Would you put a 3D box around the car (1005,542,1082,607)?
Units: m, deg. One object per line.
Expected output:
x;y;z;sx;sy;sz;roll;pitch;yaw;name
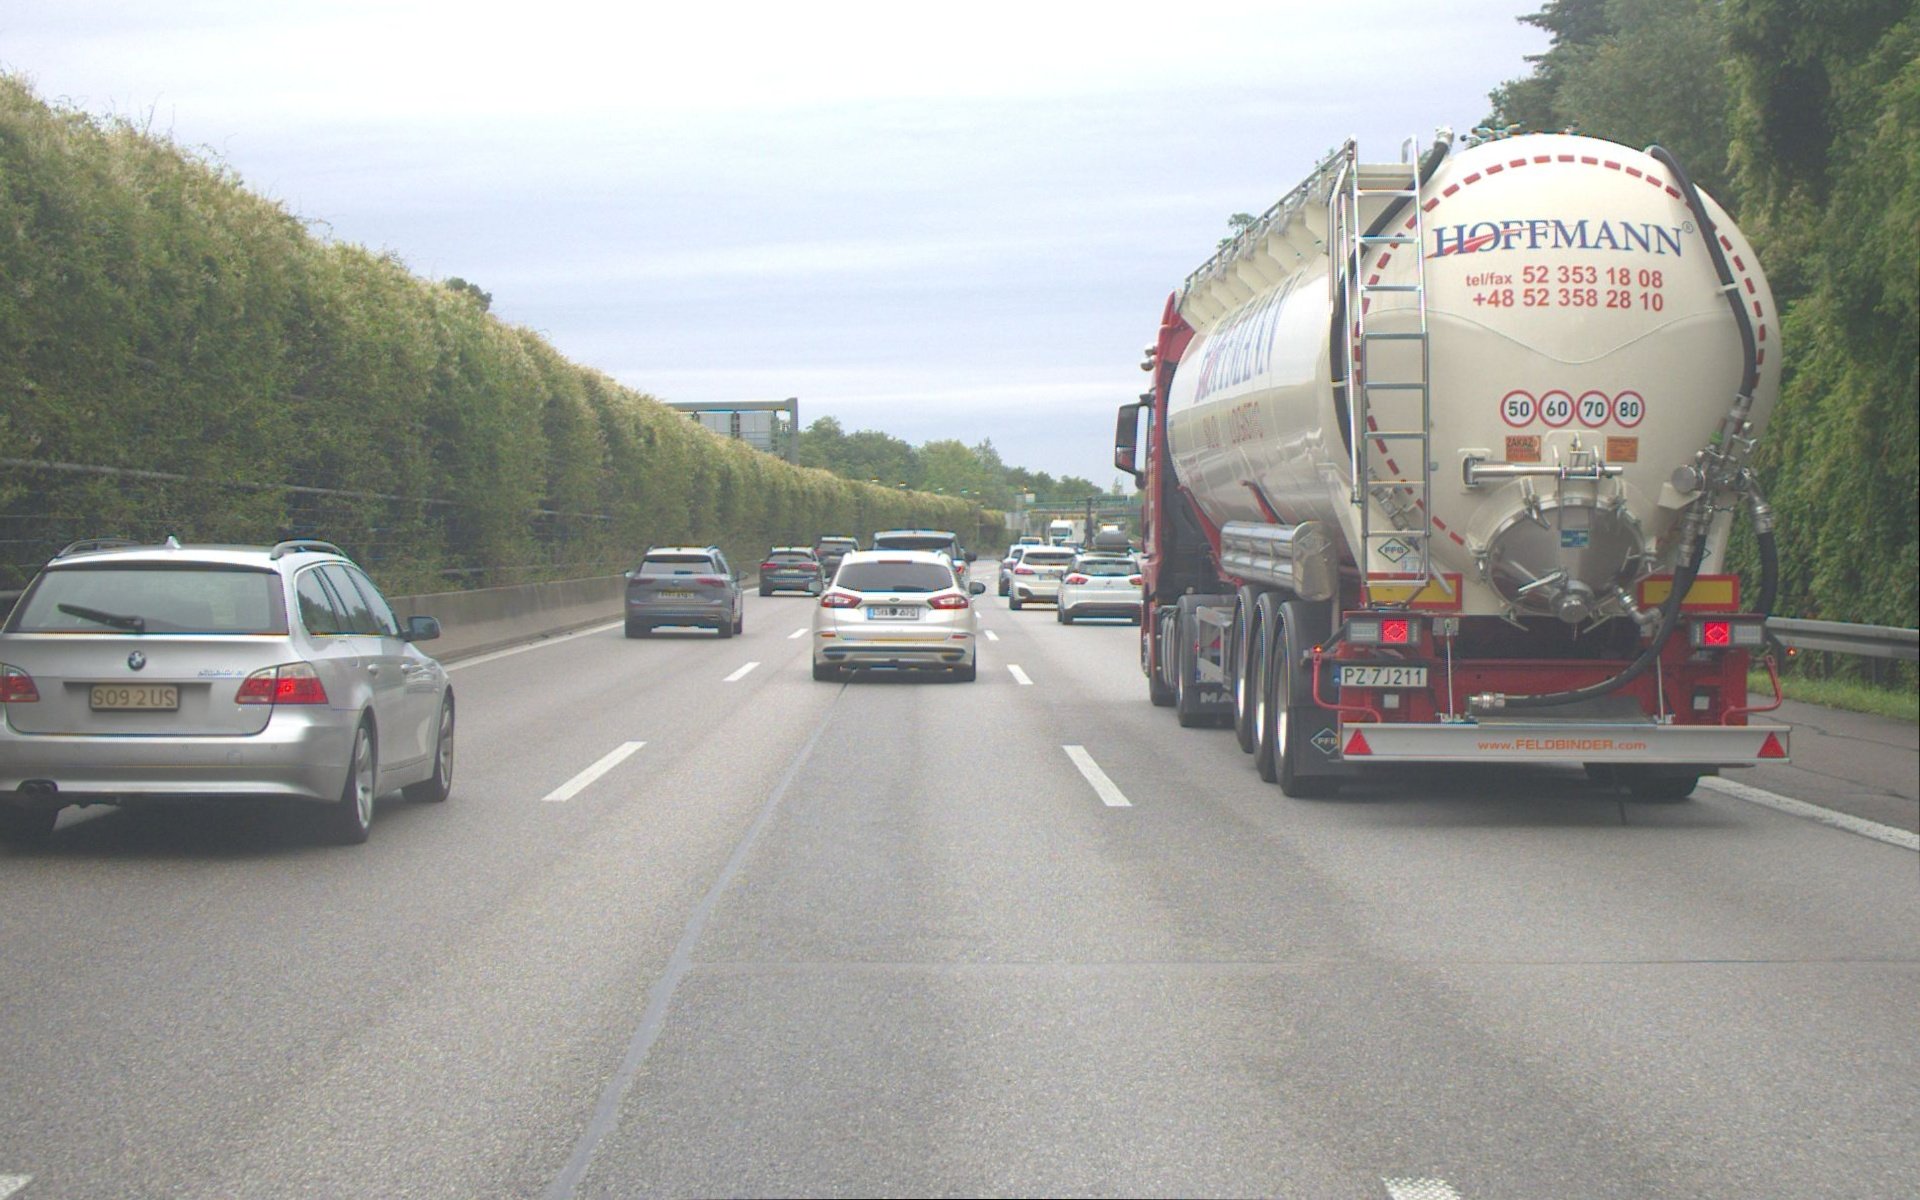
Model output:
2.021;-0.629;83.825;1.689;1.501;3.871;1;1;-1;car

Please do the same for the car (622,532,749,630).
-4.481;-0.340;56.654;1.720;1.507;5.030;1;1;-1;car

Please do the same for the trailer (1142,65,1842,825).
3.132;-0.876;24.559;2.668;3.925;13.131;1;1;-1;trailer

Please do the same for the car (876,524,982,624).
-0.575;-0.484;60.534;1.689;1.501;3.872;5;2;-2;car

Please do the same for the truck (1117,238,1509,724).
3.025;-1.002;31.254;2.695;3.899;6.557;1;1;-1;truck

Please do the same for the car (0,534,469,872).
-3.795;0.420;18.125;1.720;1.464;5.030;1;1;-1;car

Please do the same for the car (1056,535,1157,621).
2.875;-0.471;68.454;1.816;1.620;5.030;1;1;0;car

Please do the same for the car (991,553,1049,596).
1.880;-0.811;108.443;1.689;1.326;3.871;1;1;-1;car

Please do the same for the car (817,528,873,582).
-4.343;-1.717;130.089;1.993;2.007;4.000;1;1;0;car

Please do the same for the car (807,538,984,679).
-0.731;0.053;39.833;1.891;1.499;5.030;1;1;-1;car

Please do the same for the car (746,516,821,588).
-5.089;-1.404;99.727;1.993;2.007;3.841;1;1;0;car
